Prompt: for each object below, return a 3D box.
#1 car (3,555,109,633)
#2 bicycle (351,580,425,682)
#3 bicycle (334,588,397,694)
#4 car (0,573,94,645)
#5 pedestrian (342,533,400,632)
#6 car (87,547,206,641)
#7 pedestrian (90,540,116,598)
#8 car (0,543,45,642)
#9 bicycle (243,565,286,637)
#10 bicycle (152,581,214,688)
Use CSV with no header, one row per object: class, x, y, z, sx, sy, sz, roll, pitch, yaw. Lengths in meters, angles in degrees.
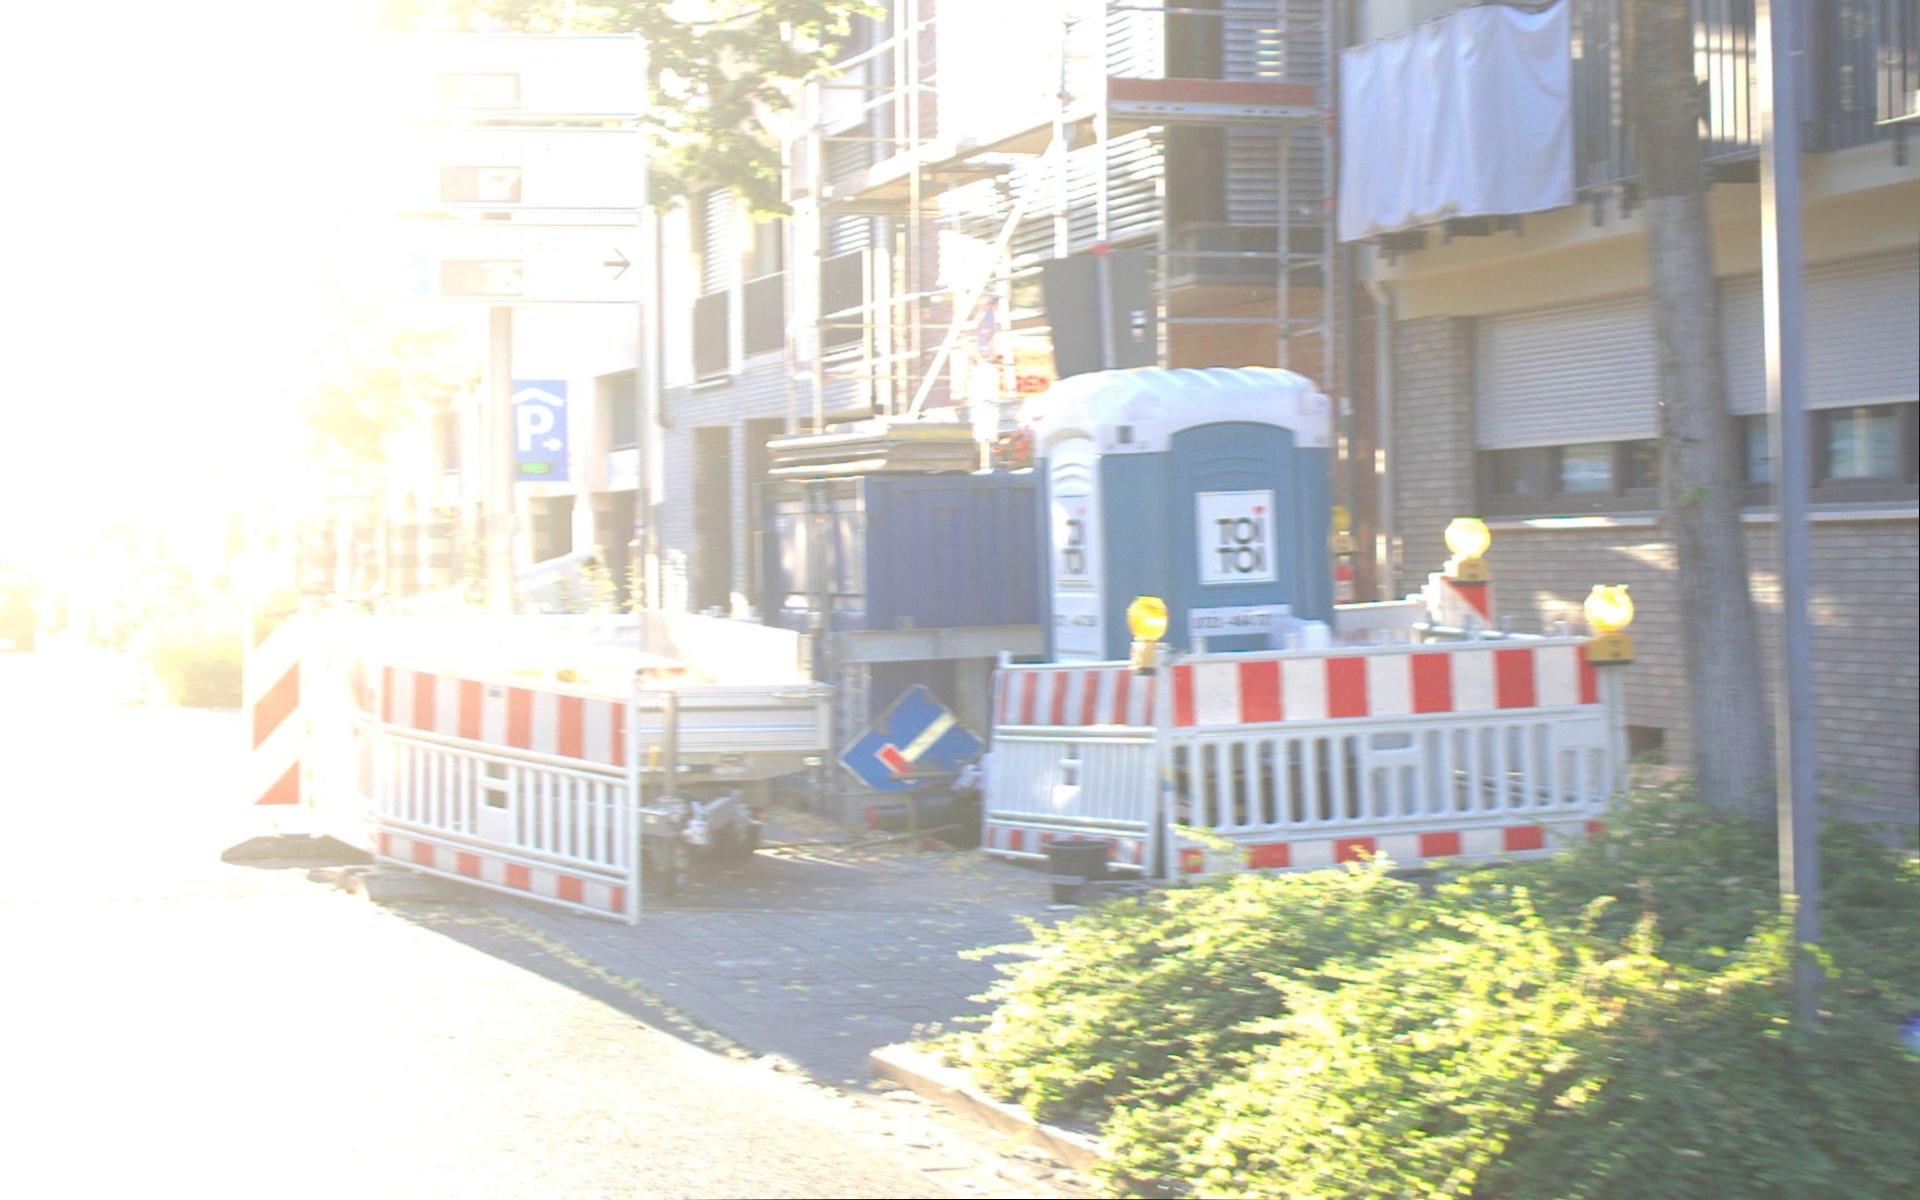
car,-17.409,-0.123,66.123,1.633,1.419,3.759,-1,1,-19
bicycle,-6.333,0.328,37.999,0.382,1.096,1.523,-1,1,-26
bicycle,-6.790,0.453,39.233,0.381,1.185,1.523,0,0,-23
car,-19.431,0.172,72.950,1.703,1.431,3.933,-2,1,-18
pedestrian,-9.954,-0.292,58.083,0.810,1.641,0.606,-2,0,-19
car,-14.161,-0.118,59.776,1.632,1.548,2.695,-2,1,-21
pedestrian,-25.591,-0.922,102.624,0.688,1.716,0.717,-2,1,-13
car,-17.204,-0.155,60.106,1.994,1.649,4.675,1,0,-19
bicycle,-12.085,0.010,59.722,0.397,1.230,1.826,-2,1,-21
bicycle,-8.214,0.354,36.318,0.381,1.096,1.523,-1,1,-22
